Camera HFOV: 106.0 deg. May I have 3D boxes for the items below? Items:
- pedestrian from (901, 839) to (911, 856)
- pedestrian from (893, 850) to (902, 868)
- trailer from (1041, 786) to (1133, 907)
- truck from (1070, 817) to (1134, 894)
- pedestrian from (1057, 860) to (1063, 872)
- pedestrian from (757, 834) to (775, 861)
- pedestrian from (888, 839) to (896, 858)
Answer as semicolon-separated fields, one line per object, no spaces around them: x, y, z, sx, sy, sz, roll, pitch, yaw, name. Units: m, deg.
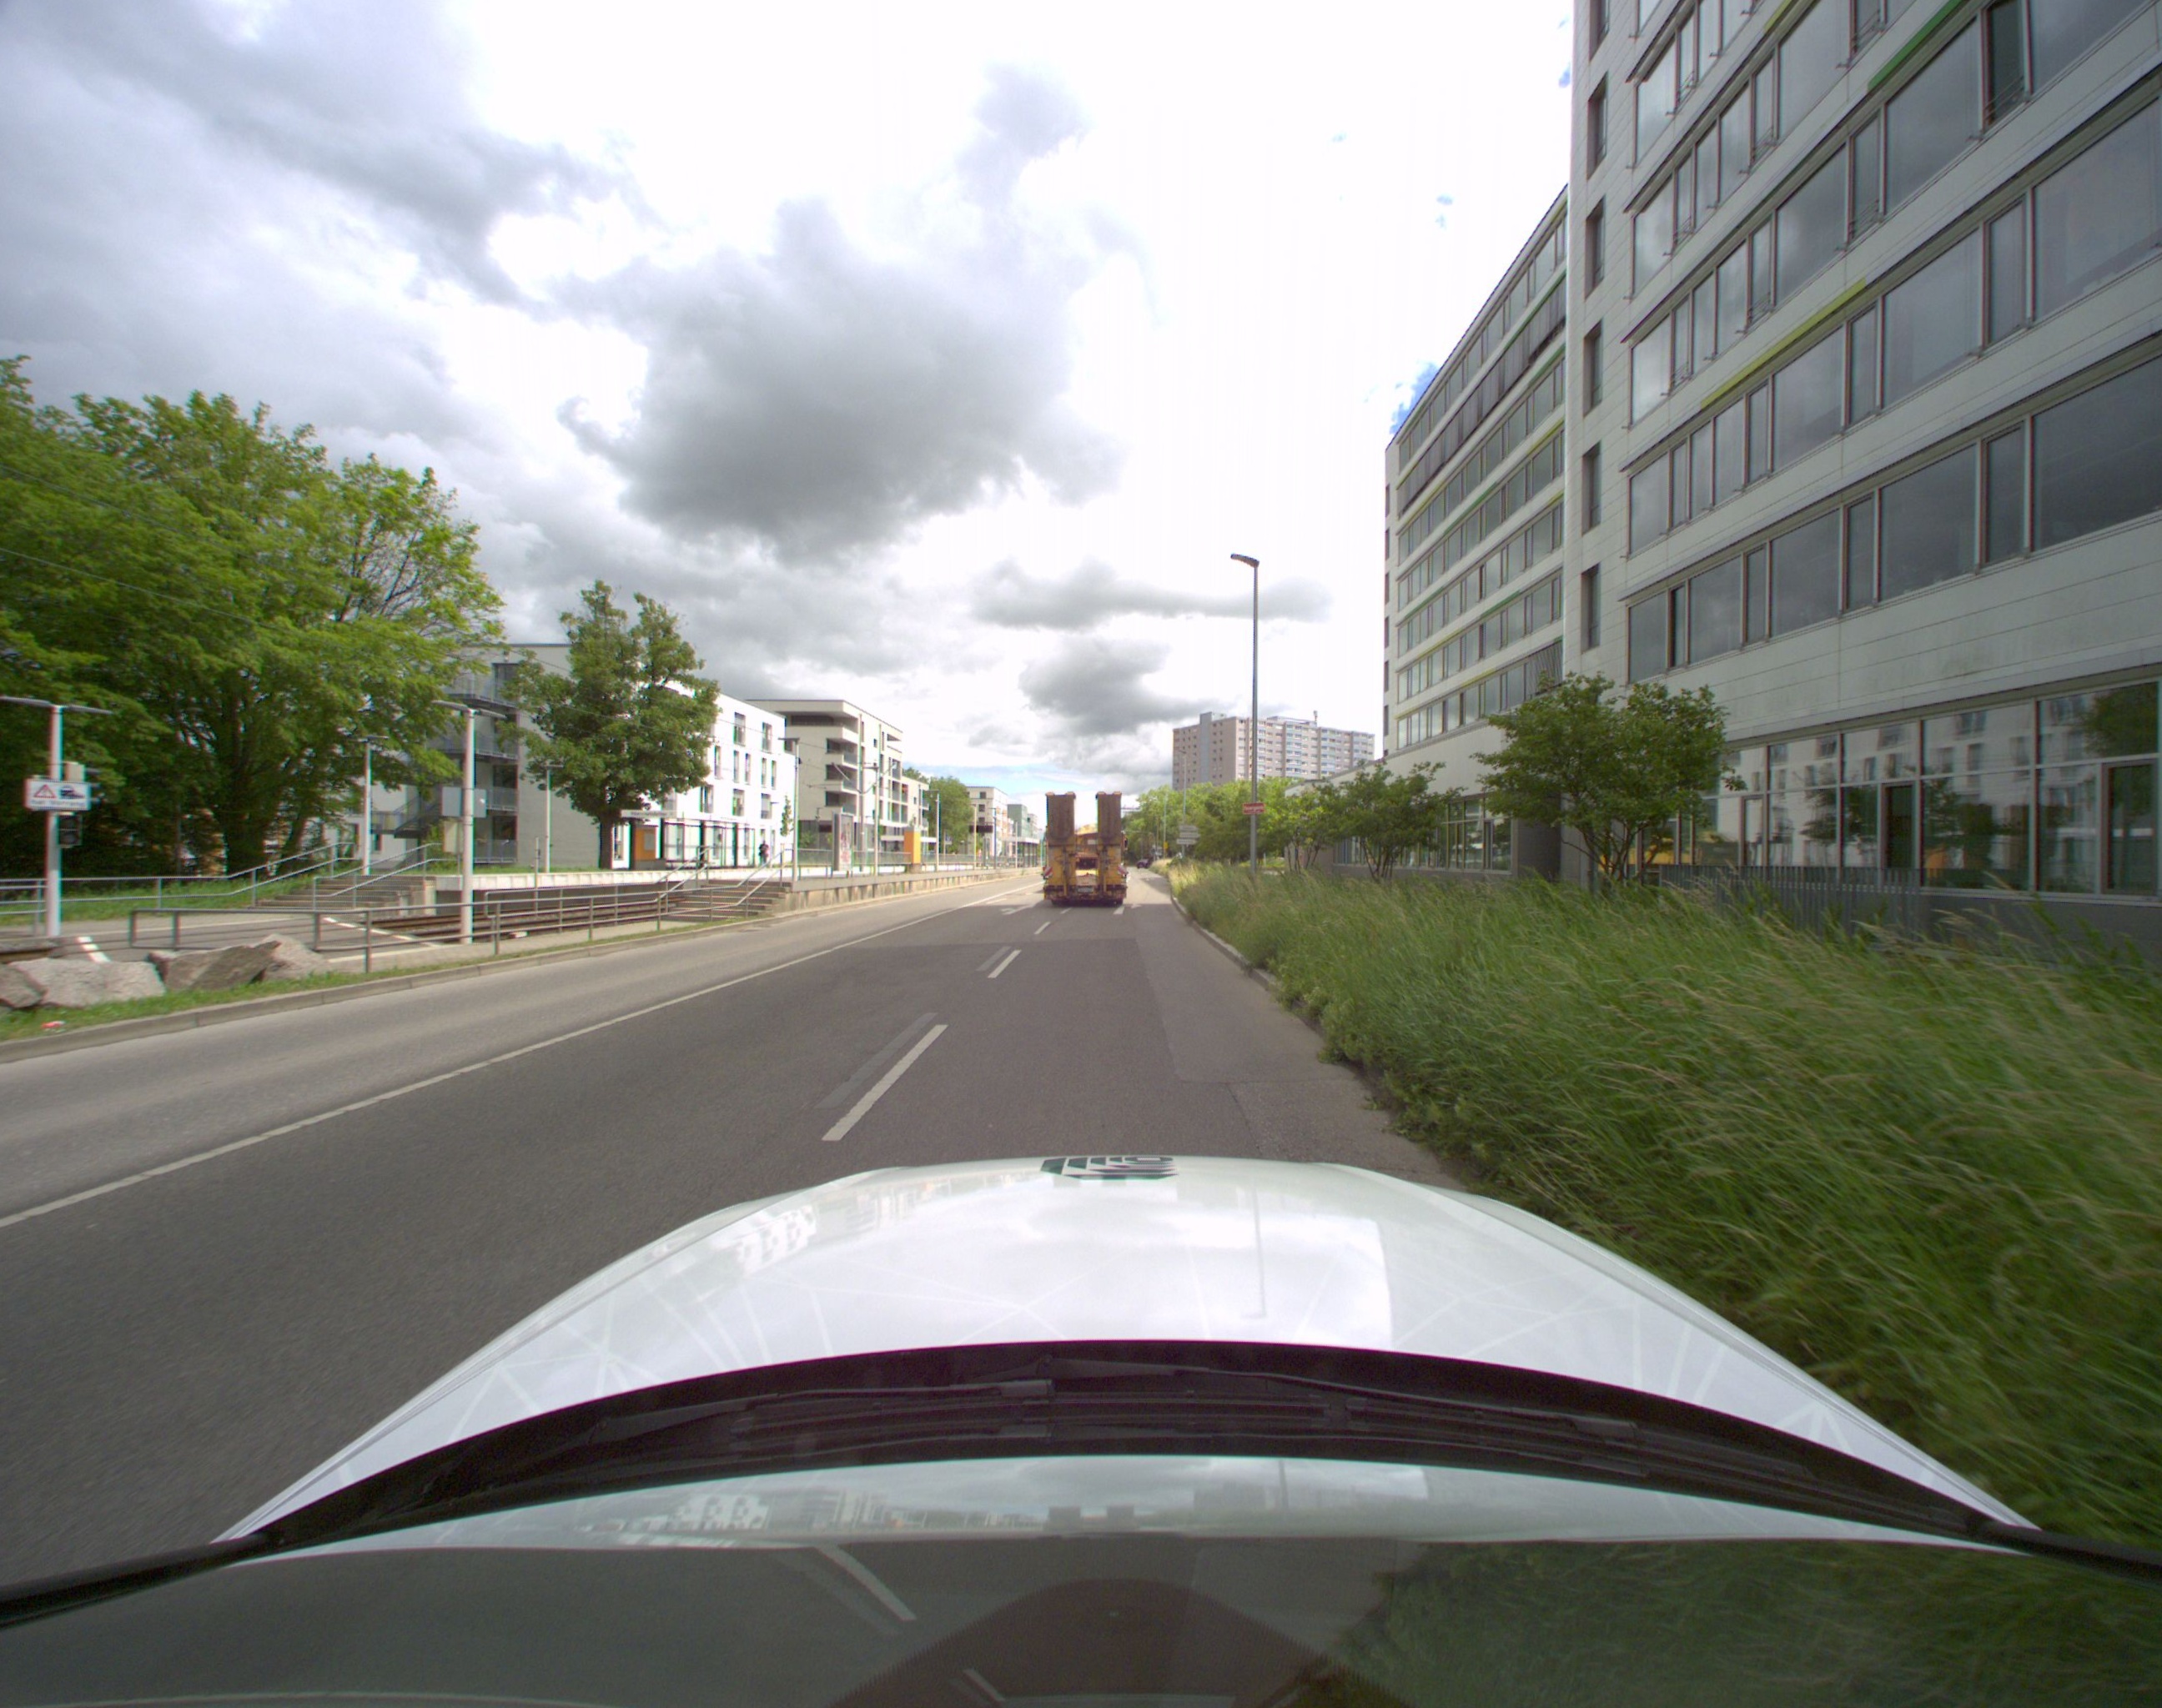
-15.832;-0.589;73.587;0.482;1.597;0.682;0;-1;38;pedestrian
-16.285;0.447;72.264;0.681;1.597;0.483;1;-1;-44;pedestrian
0.504;-0.181;29.830;2.717;3.559;11.262;0;0;3;trailer
1.133;0.084;39.619;2.742;3.313;8.358;0;0;3;truck
-2.985;1.725;115.705;0.678;1.603;0.823;0;-1;2;pedestrian
-17.593;-0.363;45.515;0.737;1.531;0.548;0;-1;6;pedestrian
-16.857;-0.472;72.707;0.490;1.725;0.671;1;-1;-31;pedestrian
